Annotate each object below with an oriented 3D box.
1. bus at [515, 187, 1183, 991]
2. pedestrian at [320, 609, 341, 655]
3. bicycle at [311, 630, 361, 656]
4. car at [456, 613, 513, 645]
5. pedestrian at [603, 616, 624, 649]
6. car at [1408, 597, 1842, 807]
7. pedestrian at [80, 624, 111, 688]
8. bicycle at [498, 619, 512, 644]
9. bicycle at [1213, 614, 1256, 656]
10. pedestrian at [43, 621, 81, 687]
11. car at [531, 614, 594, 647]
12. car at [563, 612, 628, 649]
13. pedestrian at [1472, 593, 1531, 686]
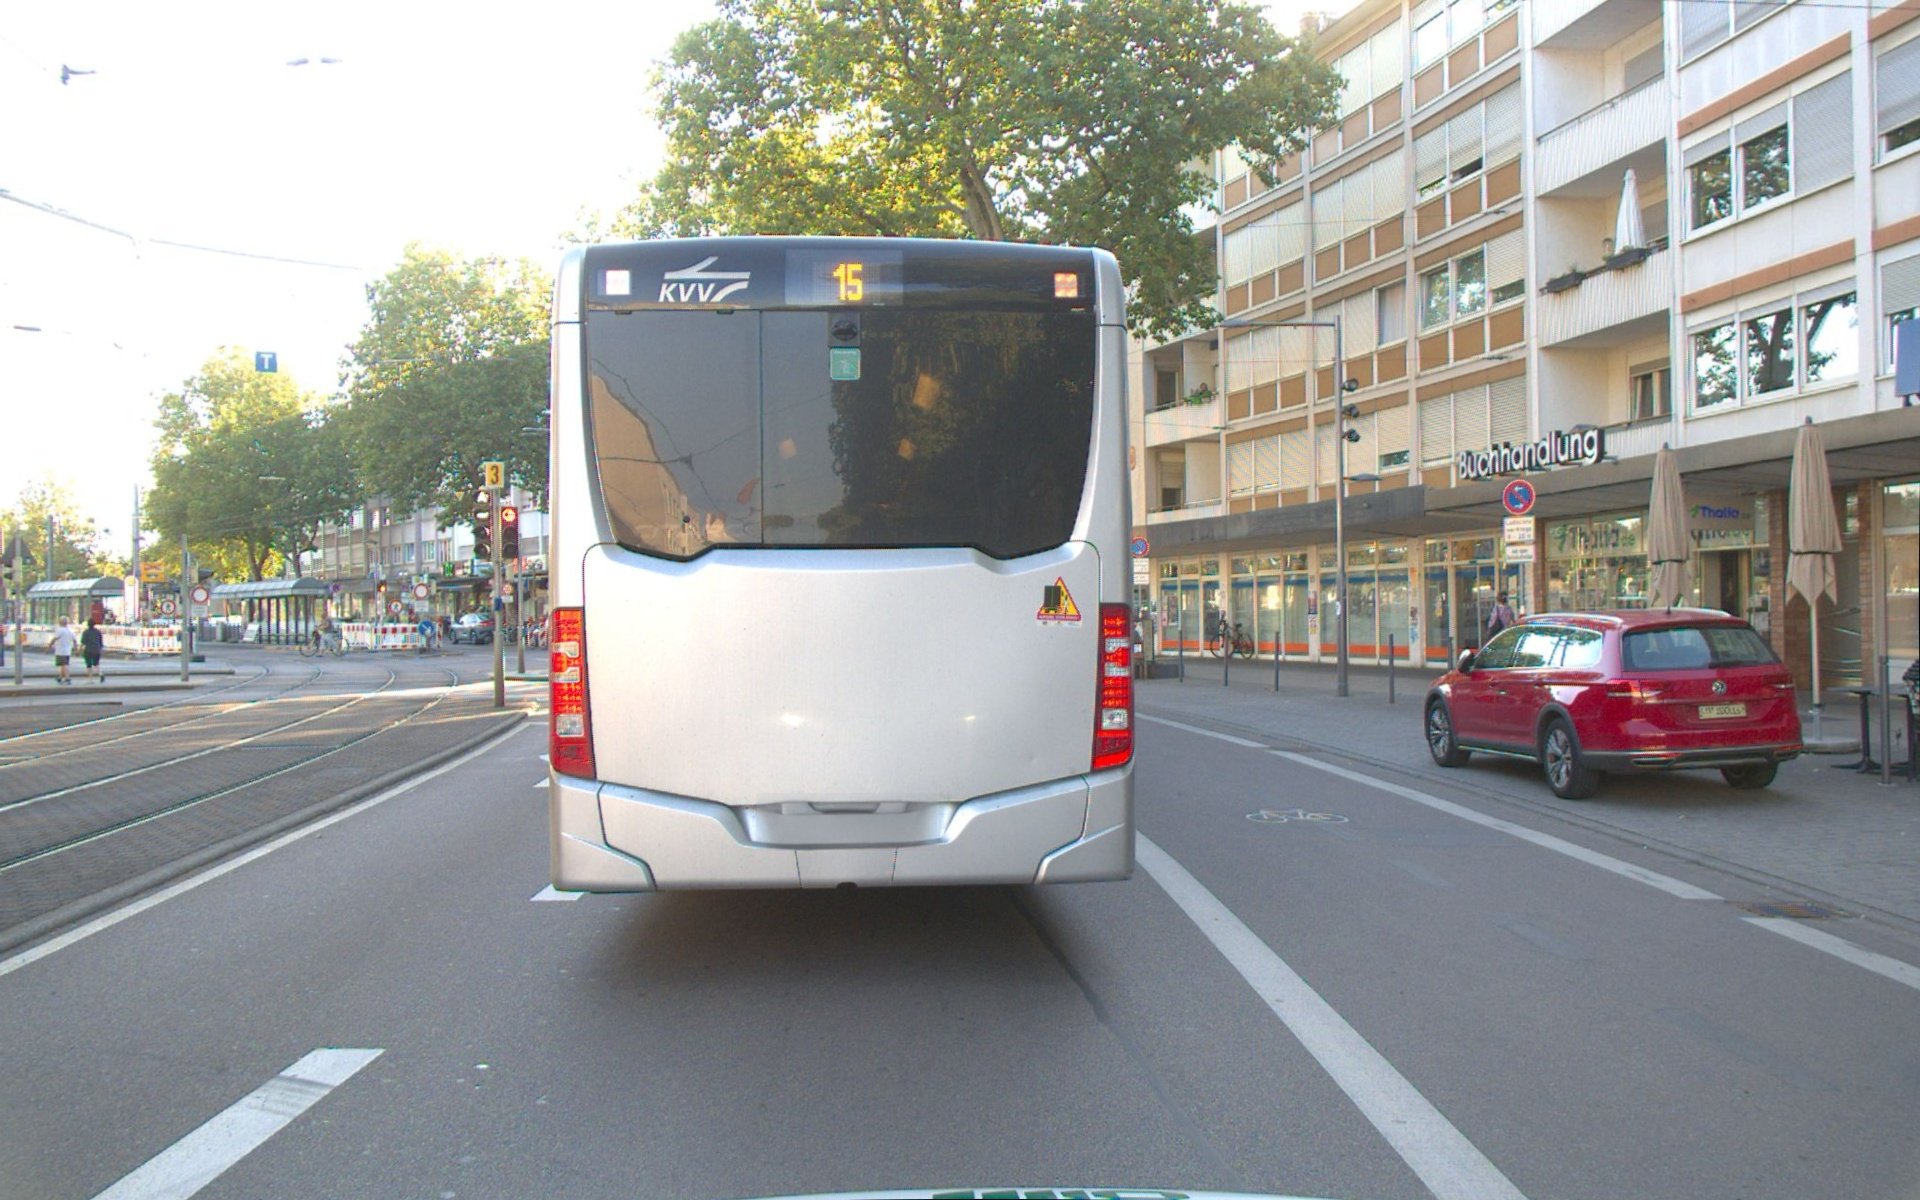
[{"bbox_3d":[-0.694,-0.006,11.660,2.605,3.153,10.209,-1,-1,-3],"label":"bus"},{"bbox_3d":[-24.256,1.234,63.744,0.709,1.755,0.397,-1,-1,-21],"label":"pedestrian"},{"bbox_3d":[-24.232,1.662,64.245,1.814,0.959,0.460,-1,-1,-22],"label":"bicycle"},{"bbox_3d":[-24.923,1.502,86.627,1.651,1.494,3.365,-4,2,-38],"label":"car"},{"bbox_3d":[-14.410,1.352,68.767,0.766,1.326,0.590,-1,-1,-22],"label":"pedestrian"},{"bbox_3d":[5.738,0.793,14.989,1.744,1.522,4.563,-3,0,-5],"label":"car"},{"bbox_3d":[-20.673,1.333,39.546,0.399,1.530,0.517,-1,-1,15],"label":"pedestrian"},{"bbox_3d":[-22.986,1.606,83.552,0.500,1.232,2.079,-1,0,-21],"label":"bicycle"},{"bbox_3d":[7.382,0.932,44.477,0.431,1.111,1.453,-3,0,-20],"label":"bicycle"},{"bbox_3d":[-21.109,1.265,38.894,0.509,1.530,0.594,-1,-1,16],"label":"pedestrian"},{"bbox_3d":[-19.162,1.452,79.645,1.652,1.419,3.364,-4,2,-39],"label":"car"},{"bbox_3d":[-16.844,1.378,76.360,1.650,1.542,3.367,-4,2,-37],"label":"car"},{"bbox_3d":[9.396,0.681,28.703,0.629,1.579,0.804,-1,-1,-15],"label":"pedestrian"}]
